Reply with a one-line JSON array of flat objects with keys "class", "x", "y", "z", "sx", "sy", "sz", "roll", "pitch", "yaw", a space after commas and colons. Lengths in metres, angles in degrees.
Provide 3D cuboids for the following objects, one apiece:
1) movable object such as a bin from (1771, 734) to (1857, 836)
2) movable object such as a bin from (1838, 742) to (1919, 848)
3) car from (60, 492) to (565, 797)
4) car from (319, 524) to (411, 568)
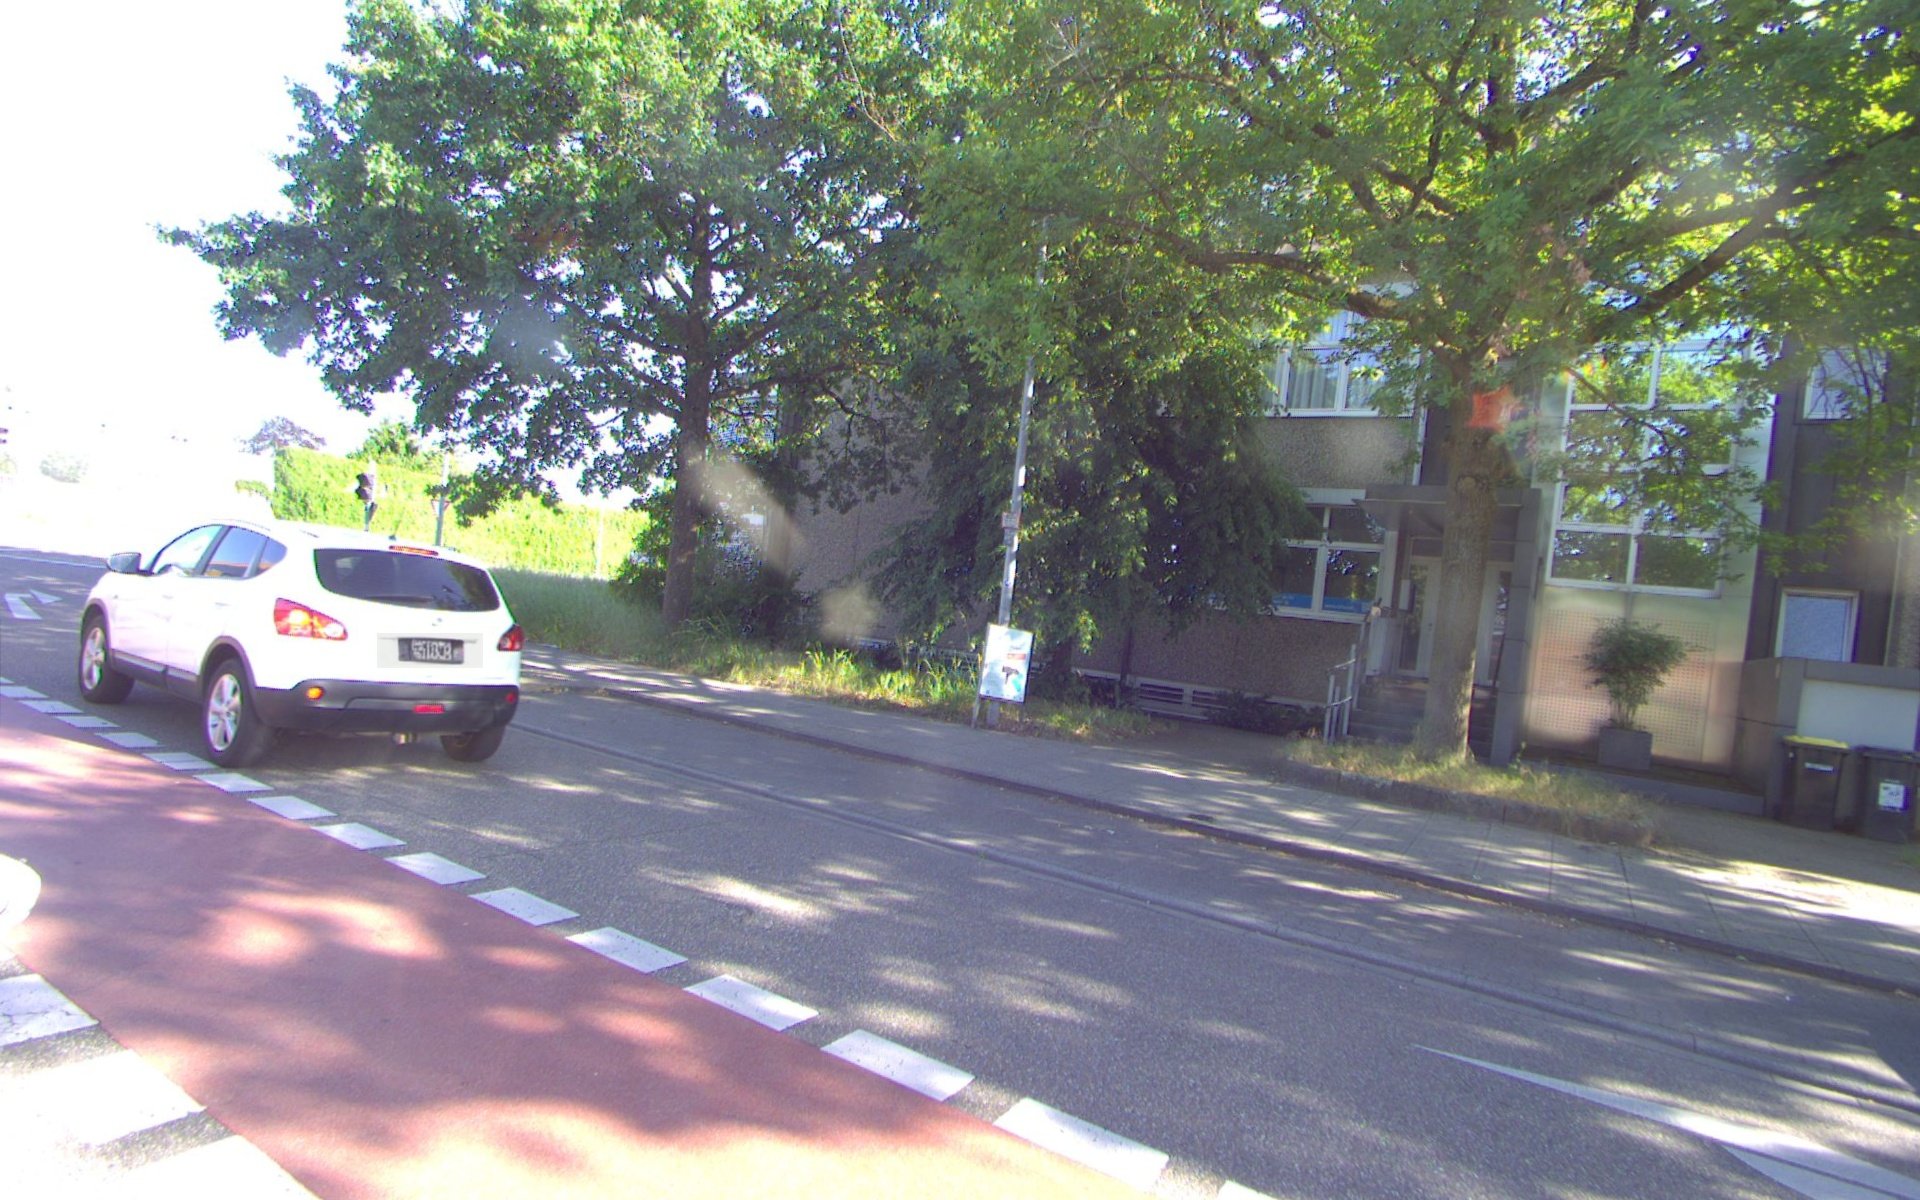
[{"class": "movable object such as a bin", "x": 10.178, "y": 2.187, "z": 12.012, "sx": 0.575, "sy": 1.070, "sz": 0.625, "roll": 7, "pitch": 0, "yaw": 30}, {"class": "movable object such as a bin", "x": 10.767, "y": 2.255, "z": 11.719, "sx": 0.605, "sy": 1.075, "sz": 0.634, "roll": 6, "pitch": 0, "yaw": 30}, {"class": "car", "x": -5.028, "y": 0.212, "z": 7.634, "sx": 4.003, "sy": 1.626, "sz": 1.719, "roll": 7, "pitch": -1, "yaw": 35}, {"class": "car", "x": -34.395, "y": -3.114, "z": 58.238, "sx": 1.890, "sy": 1.836, "sz": 3.997, "roll": 6, "pitch": -2, "yaw": 29}]
